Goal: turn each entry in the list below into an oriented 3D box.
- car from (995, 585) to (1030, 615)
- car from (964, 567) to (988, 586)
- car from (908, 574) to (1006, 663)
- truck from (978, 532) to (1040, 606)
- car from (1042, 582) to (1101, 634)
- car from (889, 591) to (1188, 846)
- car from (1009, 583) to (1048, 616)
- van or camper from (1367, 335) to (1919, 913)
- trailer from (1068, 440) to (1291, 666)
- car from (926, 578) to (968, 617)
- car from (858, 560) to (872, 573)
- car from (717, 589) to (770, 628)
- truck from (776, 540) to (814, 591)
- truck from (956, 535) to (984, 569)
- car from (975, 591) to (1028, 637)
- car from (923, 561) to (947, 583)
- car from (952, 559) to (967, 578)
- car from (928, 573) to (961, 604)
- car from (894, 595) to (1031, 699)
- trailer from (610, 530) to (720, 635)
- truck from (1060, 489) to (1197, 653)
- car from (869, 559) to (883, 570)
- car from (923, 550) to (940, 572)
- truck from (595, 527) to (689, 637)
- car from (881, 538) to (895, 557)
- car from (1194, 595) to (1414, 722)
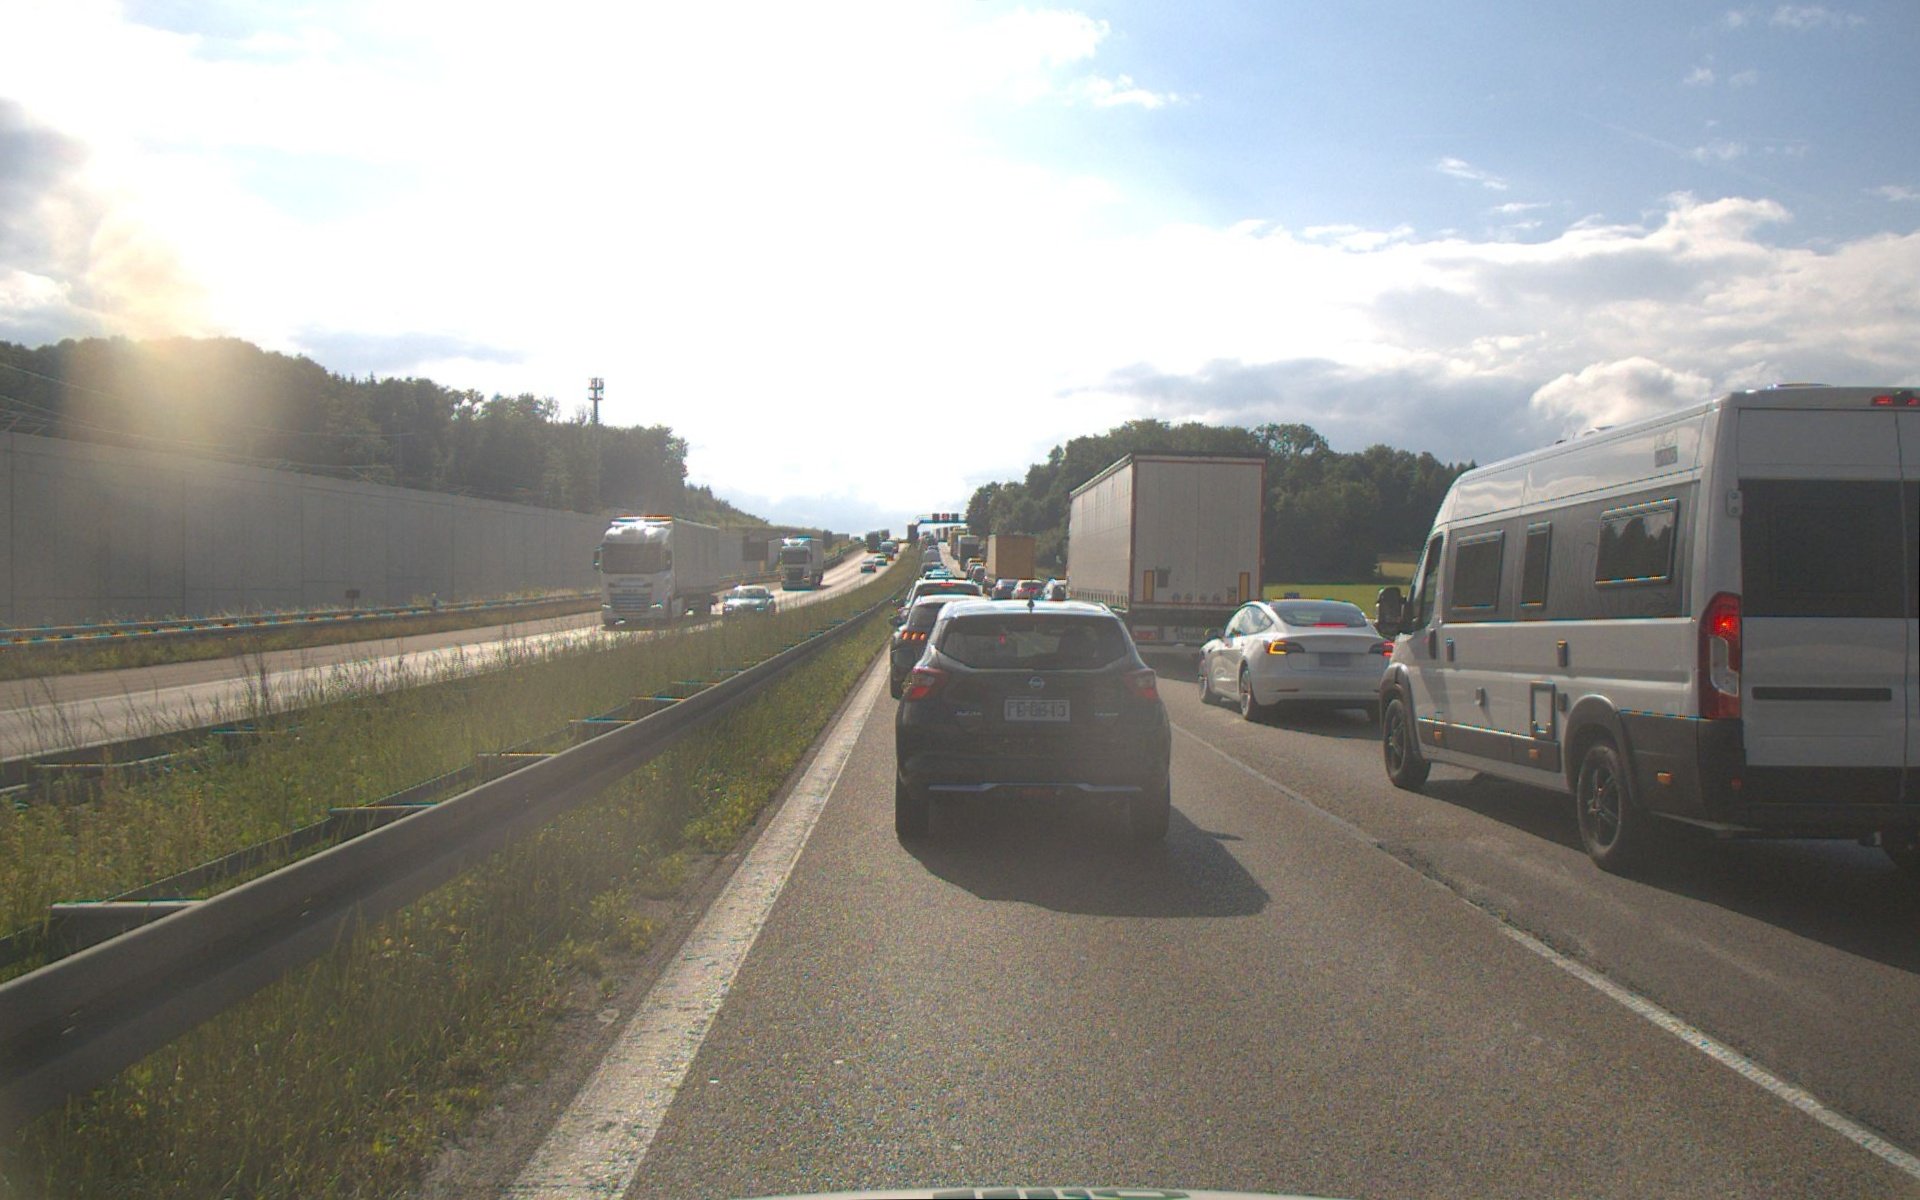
[{"bbox_3d":[3.042,-0.018,96.999,1.835,1.673,4.231,0,1,-1],"label":"car"},{"bbox_3d":[1.464,-2.206,152.731,1.836,1.673,4.229,0,2,-4],"label":"car"},{"bbox_3d":[-0.080,0.345,33.145,1.835,1.673,4.231,0,0,-1],"label":"car"},{"bbox_3d":[3.134,-1.935,110.572,3.231,4.657,12.434,1,0,-2],"label":"truck"},{"bbox_3d":[3.612,0.256,54.213,1.663,1.639,4.436,0,0,0],"label":"car"},{"bbox_3d":[0.428,0.680,11.737,1.737,1.476,4.231,0,0,-1],"label":"car"},{"bbox_3d":[3.596,-0.041,87.632,1.835,1.673,4.232,0,1,-1],"label":"car"},{"bbox_3d":[4.614,0.100,11.003,2.170,2.728,6.331,0,0,-1],"label":"van or camper"},{"bbox_3d":[4.450,-0.786,36.910,3.067,4.081,13.364,1,-1,-1],"label":"trailer"},{"bbox_3d":[-0.589,-0.134,74.240,1.835,1.673,4.232,0,1,-1],"label":"car"},{"bbox_3d":[-11.561,-4.051,200.932,1.618,1.476,3.955,0,0,-1],"label":"car"},{"bbox_3d":[-8.241,0.293,63.128,1.600,1.425,3.895,0,0,-2],"label":"car"},{"bbox_3d":[-13.928,-2.854,139.846,2.720,4.159,5.530,-2,0,-1],"label":"truck"},{"bbox_3d":[1.385,-6.835,235.539,3.395,4.656,12.437,1,1,-2],"label":"truck"},{"bbox_3d":[1.520,0.486,61.954,1.835,1.673,4.231,0,0,-1],"label":"car"},{"bbox_3d":[-2.067,-2.321,135.724,1.835,1.673,4.231,0,2,-2],"label":"car"},{"bbox_3d":[-0.117,-4.033,209.724,1.835,2.195,5.211,0,3,-1],"label":"car"},{"bbox_3d":[-0.896,-0.664,95.379,1.835,1.673,4.232,0,2,-1],"label":"car"},{"bbox_3d":[0.005,0.621,24.307,1.835,1.381,4.231,0,0,-1],"label":"car"},{"bbox_3d":[-12.666,-0.724,72.263,2.629,4.108,13.788,-1,0,-1],"label":"trailer"},{"bbox_3d":[4.393,-0.707,44.135,3.070,4.086,5.162,1,-1,-1],"label":"truck"},{"bbox_3d":[-11.842,-4.935,232.374,1.835,1.476,4.231,0,0,-1],"label":"car"},{"bbox_3d":[-3.135,-4.220,179.591,1.835,2.195,5.211,0,3,-1],"label":"car"},{"bbox_3d":[-12.485,-0.696,65.417,2.631,4.139,5.877,-1,0,-1],"label":"truck"},{"bbox_3d":[-11.265,-8.203,259.048,2.061,2.920,5.634,0,0,-2],"label":"car"},{"bbox_3d":[4.242,0.665,21.100,1.752,1.418,4.435,0,0,-2],"label":"car"}]
